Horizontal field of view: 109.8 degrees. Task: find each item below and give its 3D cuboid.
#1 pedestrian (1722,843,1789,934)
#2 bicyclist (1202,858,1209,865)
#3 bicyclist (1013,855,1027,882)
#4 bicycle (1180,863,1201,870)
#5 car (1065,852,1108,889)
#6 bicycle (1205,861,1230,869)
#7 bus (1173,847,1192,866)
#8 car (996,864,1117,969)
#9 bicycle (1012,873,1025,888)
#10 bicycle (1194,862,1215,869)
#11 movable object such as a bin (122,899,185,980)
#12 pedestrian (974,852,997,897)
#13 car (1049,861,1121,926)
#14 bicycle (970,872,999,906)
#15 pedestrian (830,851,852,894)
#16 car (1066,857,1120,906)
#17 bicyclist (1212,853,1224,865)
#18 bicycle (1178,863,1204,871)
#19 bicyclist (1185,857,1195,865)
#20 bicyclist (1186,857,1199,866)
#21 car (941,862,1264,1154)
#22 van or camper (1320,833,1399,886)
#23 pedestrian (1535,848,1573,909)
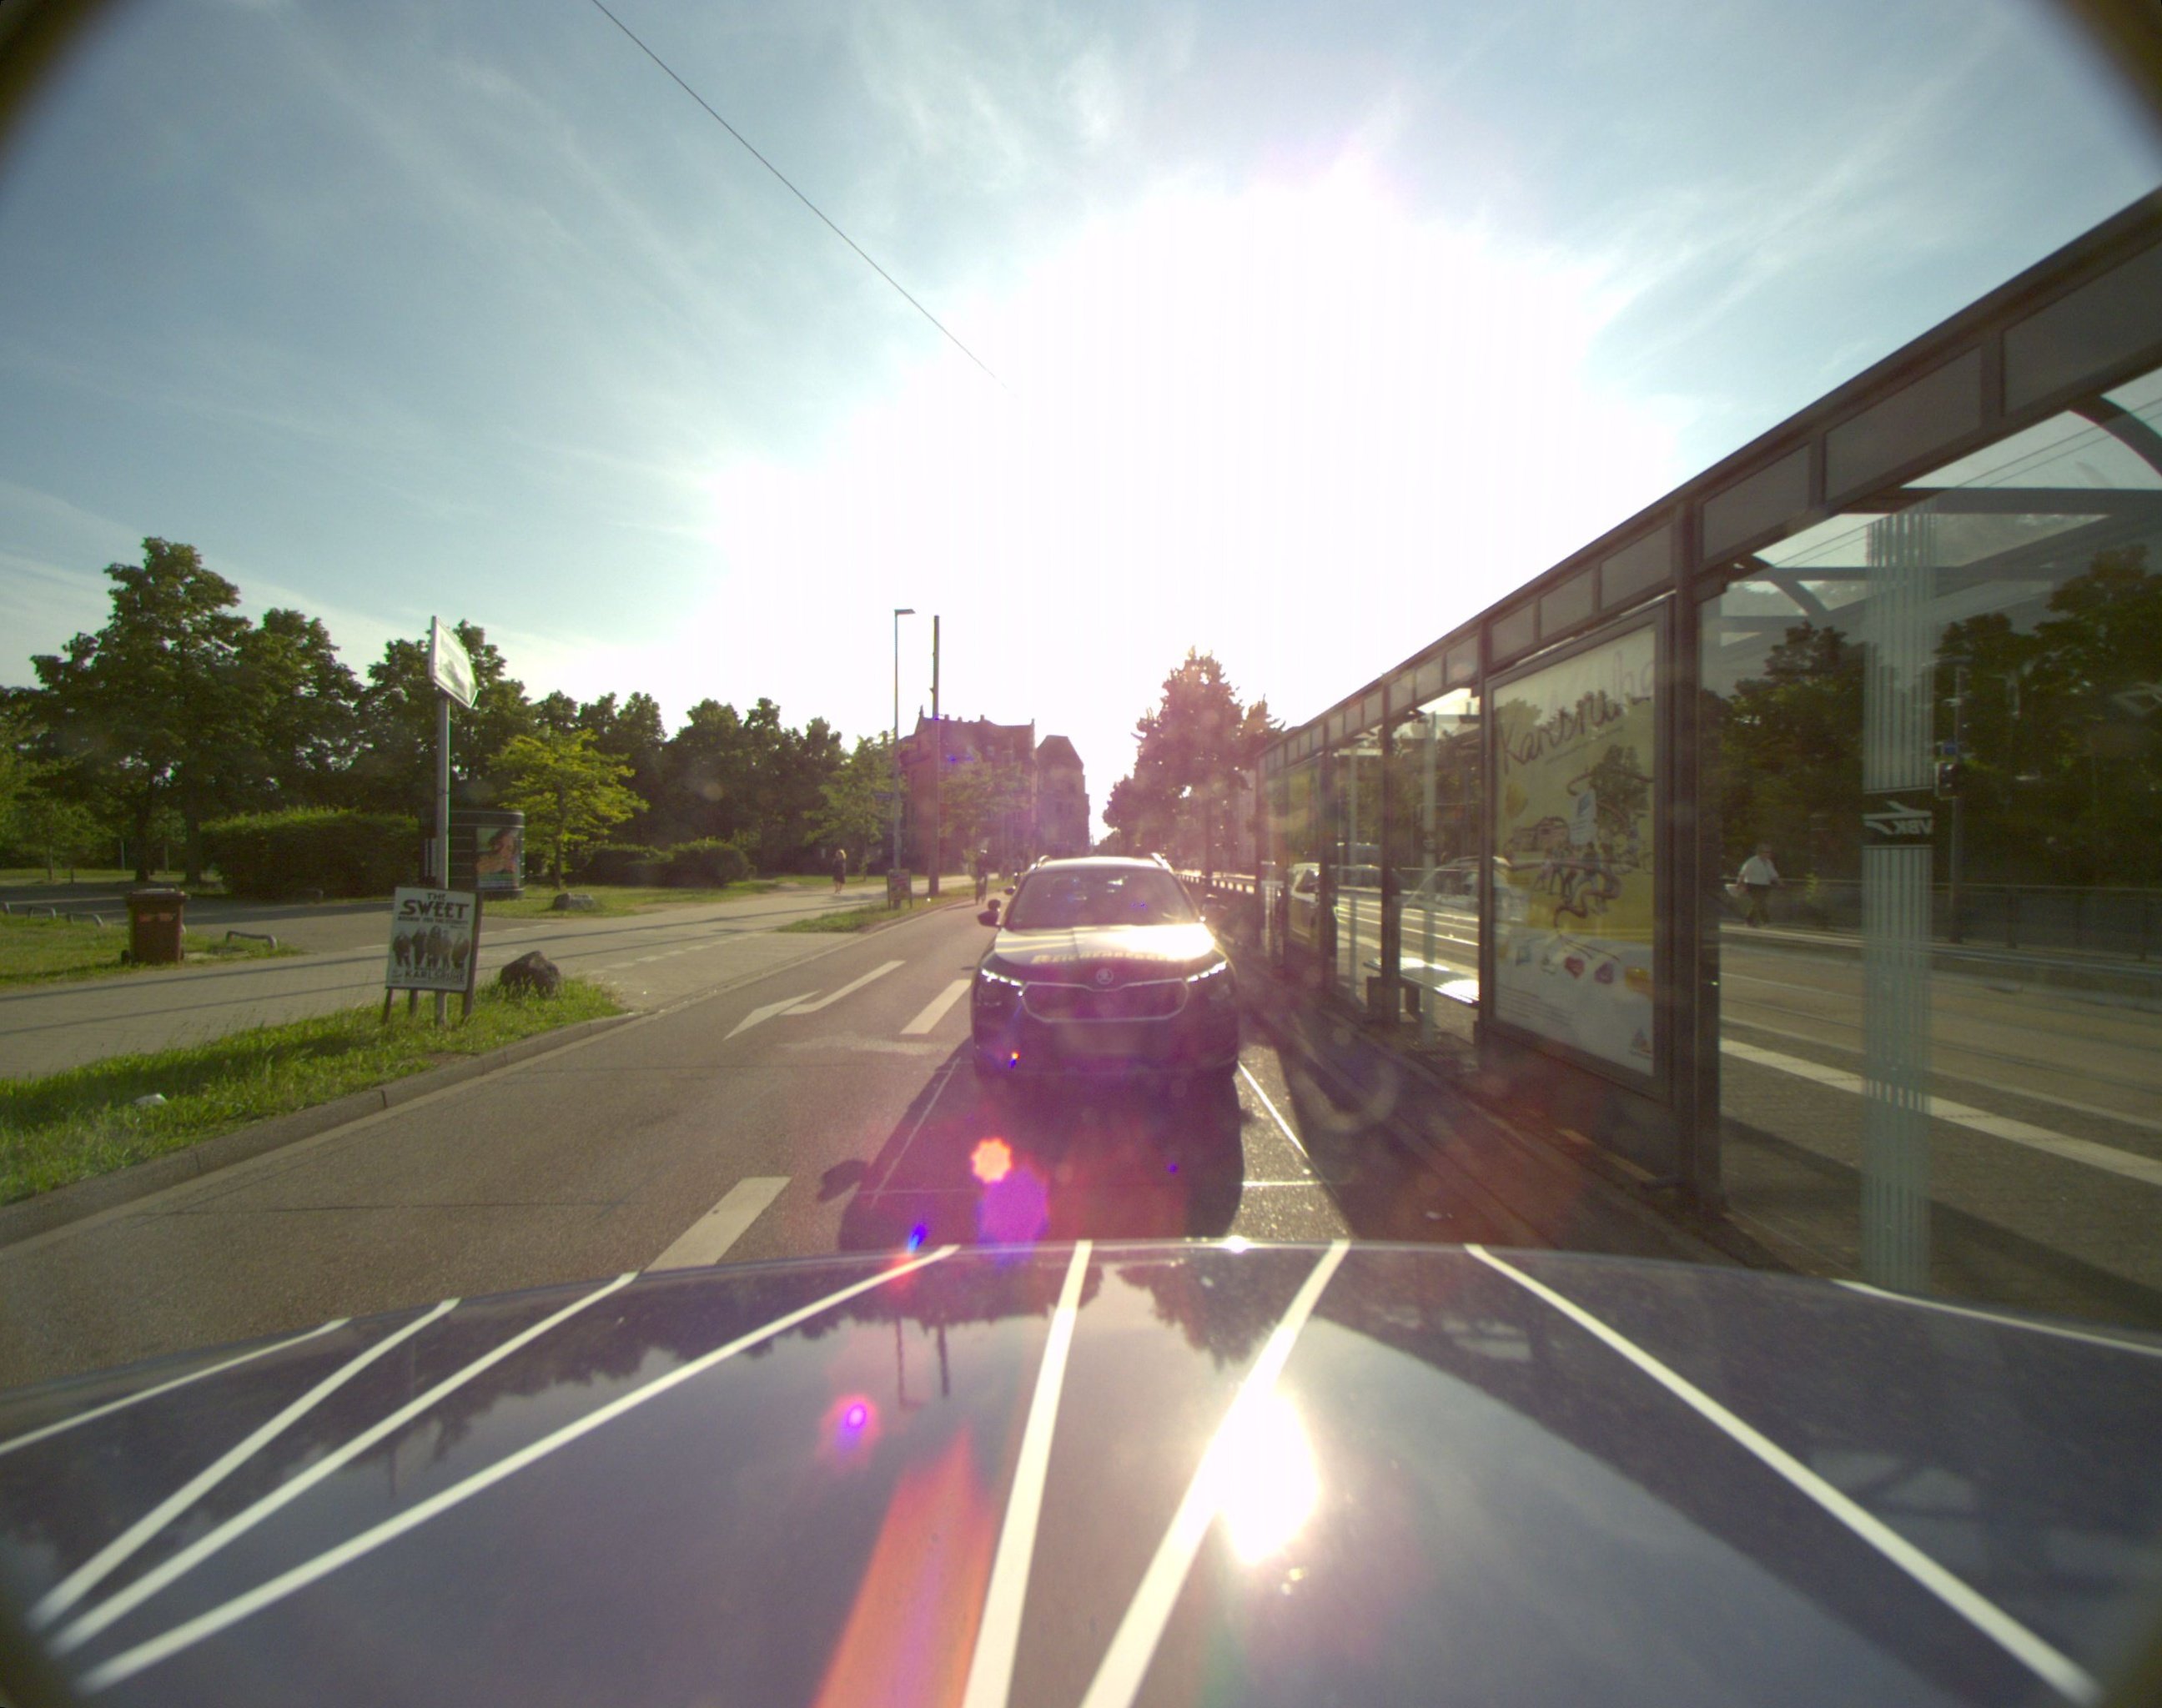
[{"bbox_3d":[12.851,0.647,14.491,0.621,1.675,0.618,3,1,1],"label":"pedestrian"},{"bbox_3d":[15.380,0.942,93.824,0.897,0.908,0.616,0,0,4],"label":"bicyclist"},{"bbox_3d":[-3.330,0.800,41.519,0.689,1.445,1.111,0,0,0],"label":"bicyclist"},{"bbox_3d":[13.411,1.528,92.837,2.536,0.876,0.631,0,0,5],"label":"bicycle"},{"bbox_3d":[0.247,0.683,33.760,1.756,1.534,4.235,-1,0,1],"label":"car"},{"bbox_3d":[17.238,1.343,95.991,2.962,0.974,0.879,0,0,-2],"label":"bicycle"},{"bbox_3d":[20.005,0.429,149.848,2.437,3.415,9.261,-2,1,1],"label":"bus"},{"bbox_3d":[-0.333,0.959,13.367,1.756,1.451,4.235,-1,0,1],"label":"car"},{"bbox_3d":[-3.412,1.441,41.508,0.567,0.789,2.041,0,0,0],"label":"bicycle"},{"bbox_3d":[15.287,1.412,93.831,2.537,0.876,0.631,0,0,4],"label":"bicycle"},{"bbox_3d":[-11.398,1.032,9.346,0.603,0.912,0.457,1,1,42],"label":"movable object such as a bin"},{"bbox_3d":[-3.326,0.691,26.504,0.637,1.512,0.845,-2,1,2],"label":"pedestrian"},{"bbox_3d":[0.127,0.997,20.921,1.756,1.534,4.235,-1,0,1],"label":"car"},{"bbox_3d":[-3.325,1.189,26.327,0.651,1.040,1.980,-2,1,1],"label":"bicycle"},{"bbox_3d":[-9.448,0.724,29.914,0.621,1.675,0.618,-2,1,1],"label":"pedestrian"},{"bbox_3d":[0.424,0.905,26.975,1.756,1.534,4.235,-1,0,1],"label":"car"},{"bbox_3d":[17.334,0.651,95.993,1.402,1.538,0.888,0,0,-1],"label":"bicyclist"},{"bbox_3d":[13.173,1.547,91.286,2.962,0.974,0.879,0,0,-2],"label":"bicycle"},{"bbox_3d":[13.295,0.871,92.835,1.217,1.018,0.672,0,0,4],"label":"bicyclist"},{"bbox_3d":[13.340,0.912,91.280,1.402,1.000,0.888,0,0,-1],"label":"bicyclist"},{"bbox_3d":[0.154,0.882,6.324,1.756,1.534,4.235,-1,0,1],"label":"car"},{"bbox_3d":[16.954,0.286,46.775,2.527,2.951,6.411,-2,1,1],"label":"van or camper"},{"bbox_3d":[13.604,0.697,21.860,0.621,1.675,0.618,3,1,1],"label":"pedestrian"}]
